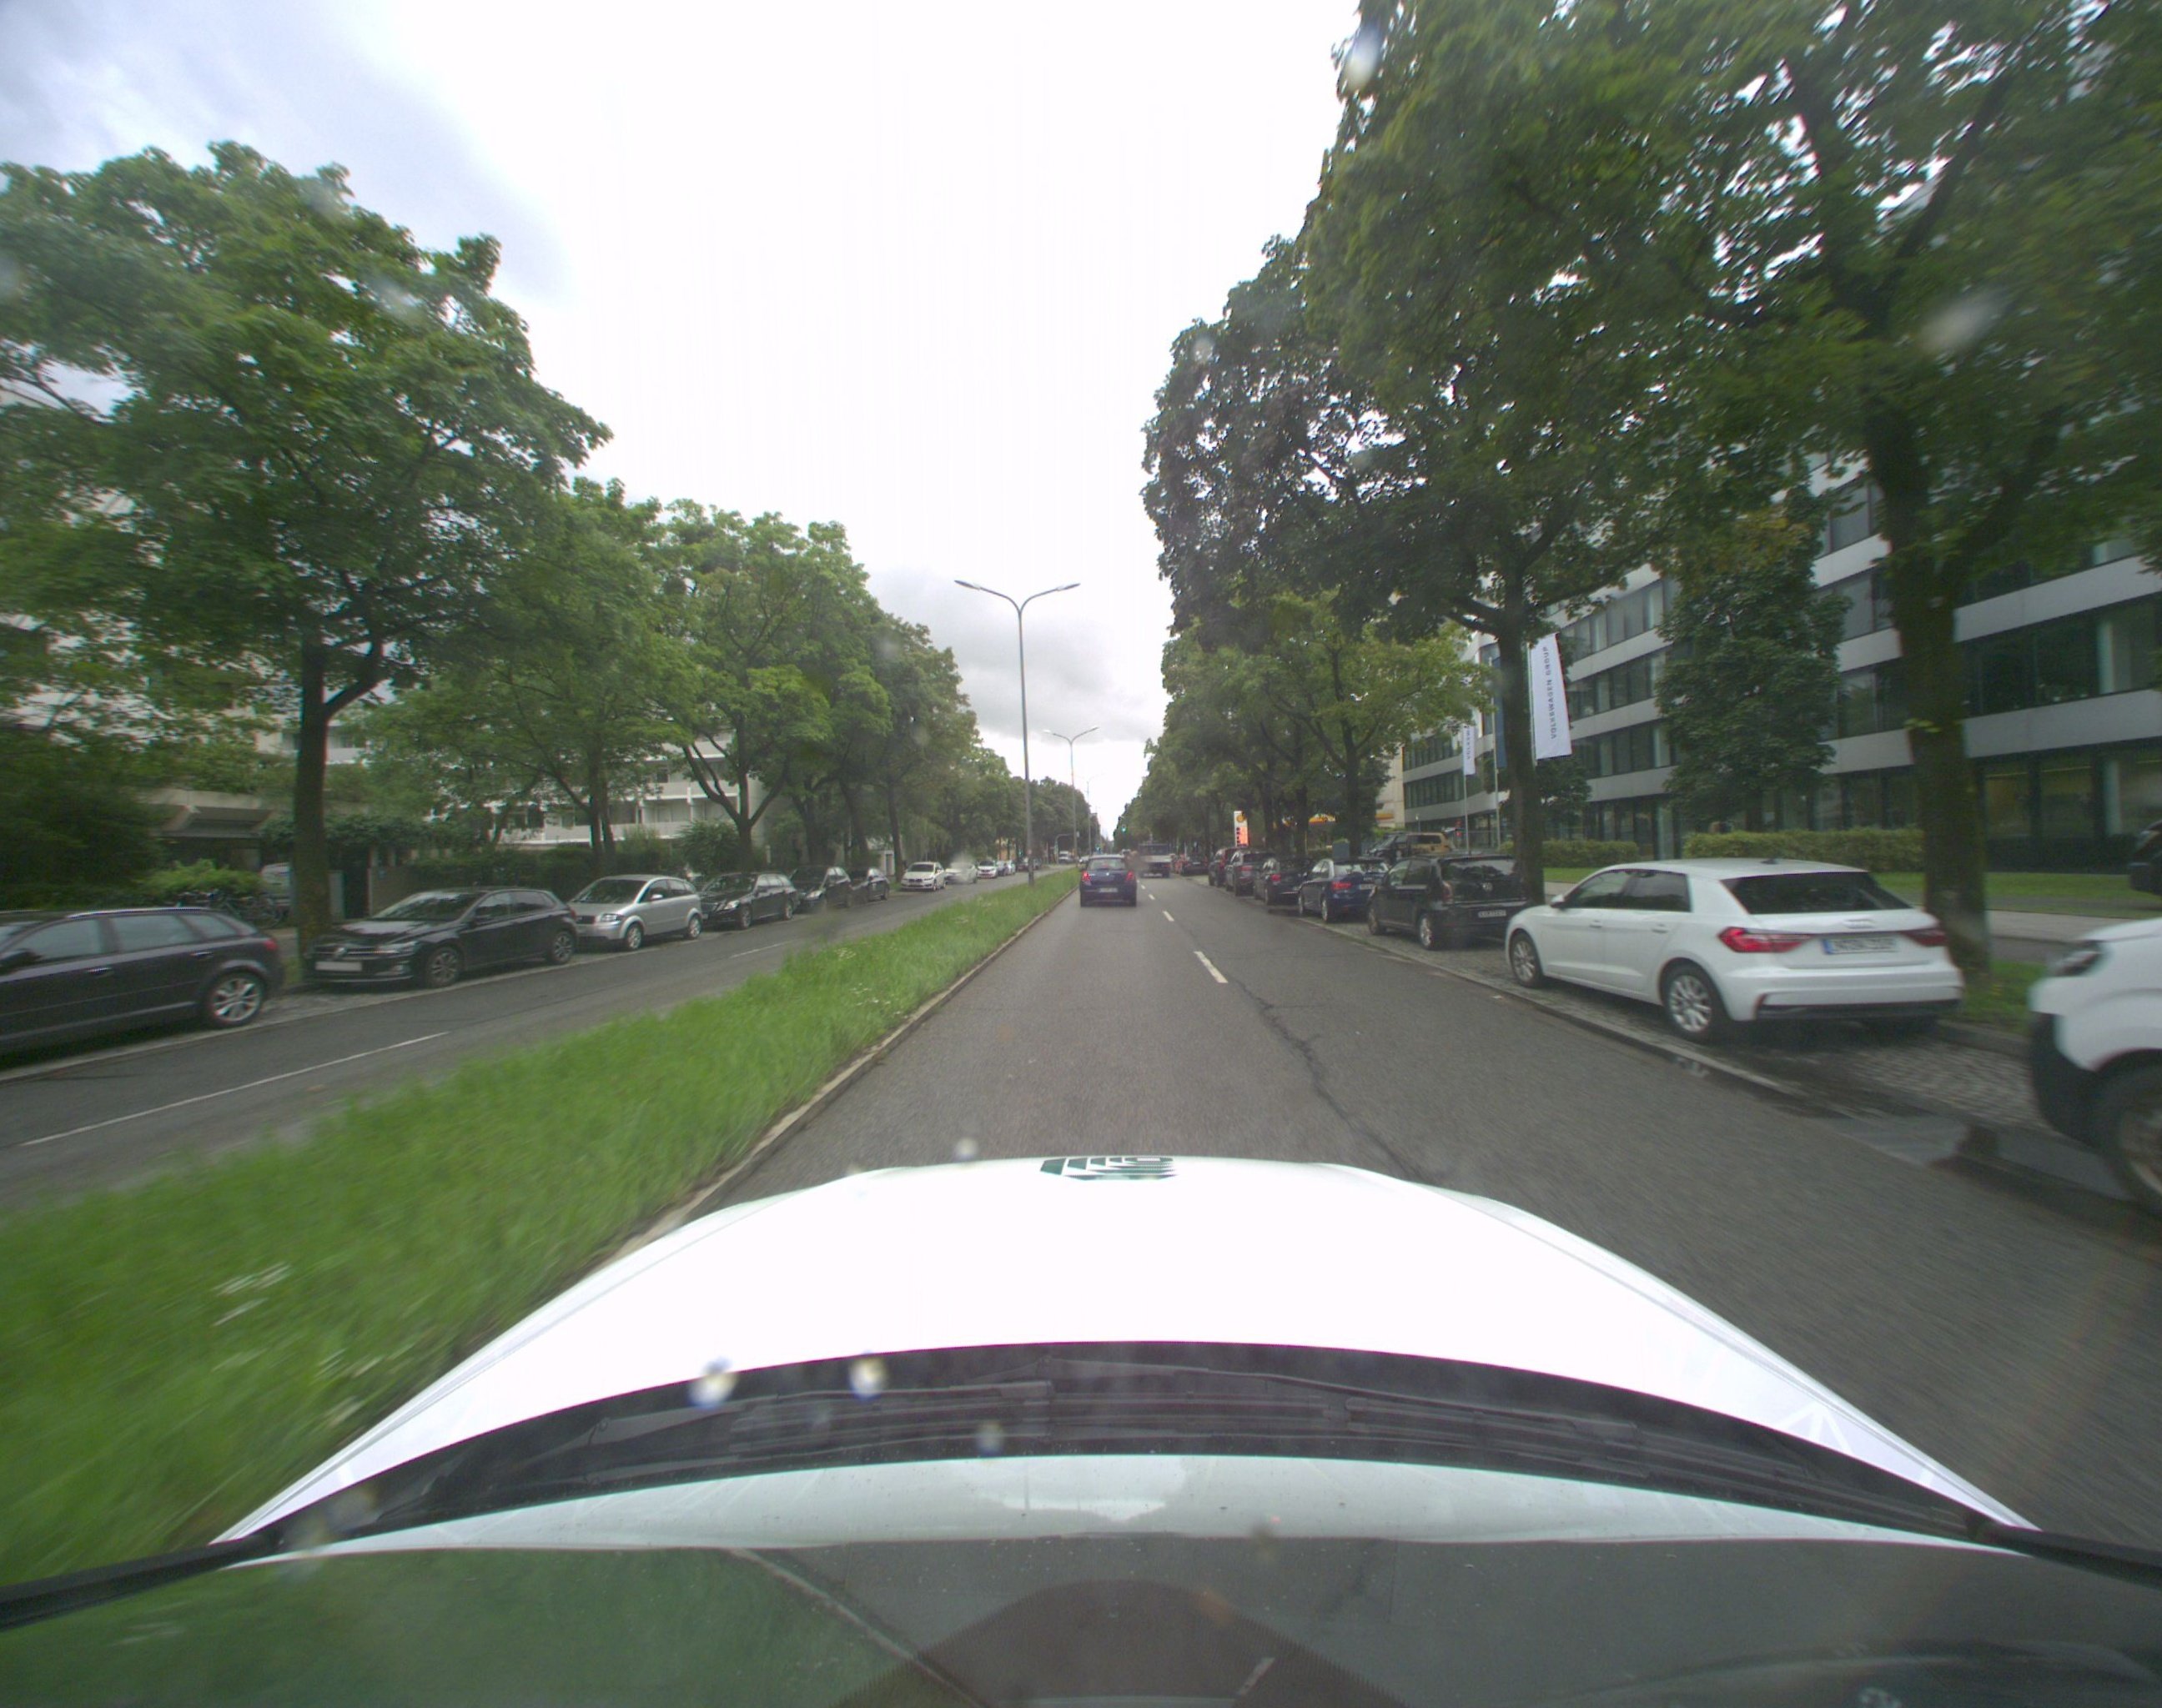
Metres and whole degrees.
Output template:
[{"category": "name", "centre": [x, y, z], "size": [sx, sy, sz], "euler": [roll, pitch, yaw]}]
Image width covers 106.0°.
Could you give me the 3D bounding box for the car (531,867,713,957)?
[{"category": "car", "centre": [-9.842, 1.163, 17.829], "size": [1.619, 1.647, 3.870], "euler": [0, 0, 3]}]

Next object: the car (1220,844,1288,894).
[{"category": "car", "centre": [6.446, 0.511, 30.829], "size": [1.805, 1.675, 4.805], "euler": [-3, 0, 4]}]

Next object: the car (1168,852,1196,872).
[{"category": "car", "centre": [8.016, 0.617, 64.934], "size": [1.669, 1.453, 4.585], "euler": [-4, 0, 2]}]

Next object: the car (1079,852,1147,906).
[{"category": "car", "centre": [0.917, 0.708, 25.112], "size": [1.890, 1.499, 3.659], "euler": [-2, 0, -1]}]

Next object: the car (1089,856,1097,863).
[{"category": "car", "centre": [2.727, 1.231, 190.594], "size": [1.731, 1.442, 4.105], "euler": [-3, 0, 2]}]

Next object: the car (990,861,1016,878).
[{"category": "car", "centre": [-7.028, 1.378, 73.783], "size": [1.668, 1.475, 4.218], "euler": [1, 0, 3]}]

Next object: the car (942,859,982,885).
[{"category": "car", "centre": [-8.070, 1.186, 55.482], "size": [1.824, 1.609, 4.495], "euler": [0, 0, 3]}]

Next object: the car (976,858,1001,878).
[{"category": "car", "centre": [-7.740, 1.166, 68.442], "size": [1.685, 1.565, 3.079], "euler": [1, 0, 0]}]

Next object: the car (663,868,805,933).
[{"category": "car", "centre": [-9.584, 1.211, 23.018], "size": [1.709, 1.524, 5.036], "euler": [0, 0, 2]}]

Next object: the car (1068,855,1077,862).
[{"category": "car", "centre": [-1.986, 0.954, 187.872], "size": [1.630, 1.442, 3.737], "euler": [-3, 0, 3]}]

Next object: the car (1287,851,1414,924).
[{"category": "car", "centre": [6.078, 0.686, 18.890], "size": [1.695, 1.421, 4.124], "euler": [-3, 0, 3]}]

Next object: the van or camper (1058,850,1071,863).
[{"category": "van or camper", "centre": [-3.369, 0.519, 167.292], "size": [2.131, 2.476, 6.263], "euler": [-3, 0, 3]}]

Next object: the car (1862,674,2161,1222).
[{"category": "car", "centre": [5.143, 0.335, 1.603], "size": [1.979, 2.157, 5.559], "euler": [-3, 0, 3]}]

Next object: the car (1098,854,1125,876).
[{"category": "car", "centre": [2.238, 0.759, 59.505], "size": [1.792, 1.499, 3.662], "euler": [-3, 0, 2]}]

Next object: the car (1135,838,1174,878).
[{"category": "car", "centre": [4.786, 0.240, 53.658], "size": [2.408, 2.444, 5.092], "euler": [-1, 0, 4]}]

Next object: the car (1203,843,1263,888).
[{"category": "car", "centre": [6.783, 0.468, 36.815], "size": [1.885, 1.800, 4.864], "euler": [-3, 0, 2]}]

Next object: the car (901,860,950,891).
[{"category": "car", "centre": [-8.601, 1.174, 45.375], "size": [1.751, 1.595, 4.490], "euler": [0, 0, 1]}]

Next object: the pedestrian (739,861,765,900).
[{"category": "pedestrian", "centre": [-14.496, 1.142, 35.873], "size": [0.847, 1.656, 0.607], "euler": [-2, 0, -5]}]

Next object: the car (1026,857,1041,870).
[{"category": "car", "centre": [-6.074, 1.206, 104.408], "size": [1.661, 1.562, 4.298], "euler": [-3, 0, 0]}]

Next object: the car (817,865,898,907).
[{"category": "car", "centre": [-9.080, 1.253, 33.529], "size": [1.753, 1.513, 4.951], "euler": [0, 0, 3]}]

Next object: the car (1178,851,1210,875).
[{"category": "car", "centre": [7.715, 0.583, 55.882], "size": [1.771, 1.511, 4.290], "euler": [-4, 0, 4]}]

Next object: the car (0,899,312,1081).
[{"category": "car", "centre": [-10.257, 1.272, 7.778], "size": [1.574, 1.423, 4.364], "euler": [0, 0, 2]}]

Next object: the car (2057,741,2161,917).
[{"category": "car", "centre": [15.223, -0.377, 8.612], "size": [2.257, 2.306, 6.268], "euler": [-3, 0, 1]}]

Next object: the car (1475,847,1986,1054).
[{"category": "car", "centre": [5.653, 0.686, 7.930], "size": [1.695, 1.397, 4.235], "euler": [-3, 0, 3]}]

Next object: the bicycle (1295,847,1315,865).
[{"category": "bicycle", "centre": [15.137, 0.154, 55.116], "size": [0.745, 1.183, 2.248], "euler": [-2, 0, 2]}]

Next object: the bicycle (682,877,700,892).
[{"category": "bicycle", "centre": [-26.124, 2.046, 54.605], "size": [0.456, 0.900, 1.451], "euler": [-2, 0, 2]}]

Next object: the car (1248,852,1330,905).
[{"category": "car", "centre": [6.367, 0.697, 25.380], "size": [1.693, 1.408, 4.519], "euler": [-3, 0, 5]}]

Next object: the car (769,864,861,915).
[{"category": "car", "centre": [-9.292, 1.183, 28.778], "size": [1.678, 1.597, 4.213], "euler": [0, 0, 3]}]

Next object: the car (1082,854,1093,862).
[{"category": "car", "centre": [1.089, 0.701, 144.115], "size": [1.732, 1.440, 4.218], "euler": [-3, 0, 3]}]

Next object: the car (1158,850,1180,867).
[{"category": "car", "centre": [8.539, 0.406, 79.181], "size": [1.754, 1.453, 4.635], "euler": [-4, 0, 2]}]

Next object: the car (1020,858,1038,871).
[{"category": "car", "centre": [-6.301, 1.261, 99.382], "size": [1.660, 1.445, 4.377], "euler": [-3, 0, 2]}]

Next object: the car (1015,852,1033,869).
[{"category": "car", "centre": [-6.497, 0.715, 92.527], "size": [1.791, 1.763, 5.055], "euler": [1, 0, -2]}]

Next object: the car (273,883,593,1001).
[{"category": "car", "centre": [-10.053, 1.263, 13.138], "size": [1.619, 1.423, 4.195], "euler": [0, 0, 3]}]

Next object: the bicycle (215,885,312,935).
[{"category": "bicycle", "centre": [-22.046, 1.504, 21.983], "size": [1.855, 1.226, 0.530], "euler": [-2, 0, -10]}]

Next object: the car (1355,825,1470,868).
[{"category": "car", "centre": [18.134, -0.389, 44.747], "size": [5.450, 2.083, 2.147], "euler": [-2, 0, 1]}]

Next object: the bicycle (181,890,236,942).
[{"category": "bicycle", "centre": [-22.113, 1.545, 20.675], "size": [0.534, 1.226, 1.841], "euler": [-2, 0, -35]}]

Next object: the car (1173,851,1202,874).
[{"category": "car", "centre": [7.905, 0.609, 60.509], "size": [1.669, 1.501, 4.023], "euler": [-4, 0, 2]}]

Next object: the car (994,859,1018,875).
[{"category": "car", "centre": [-7.209, 1.196, 78.959], "size": [1.667, 1.443, 4.323], "euler": [1, 0, 3]}]

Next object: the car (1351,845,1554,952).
[{"category": "car", "centre": [5.987, 0.637, 13.691], "size": [1.695, 1.446, 3.981], "euler": [-3, 0, 3]}]
